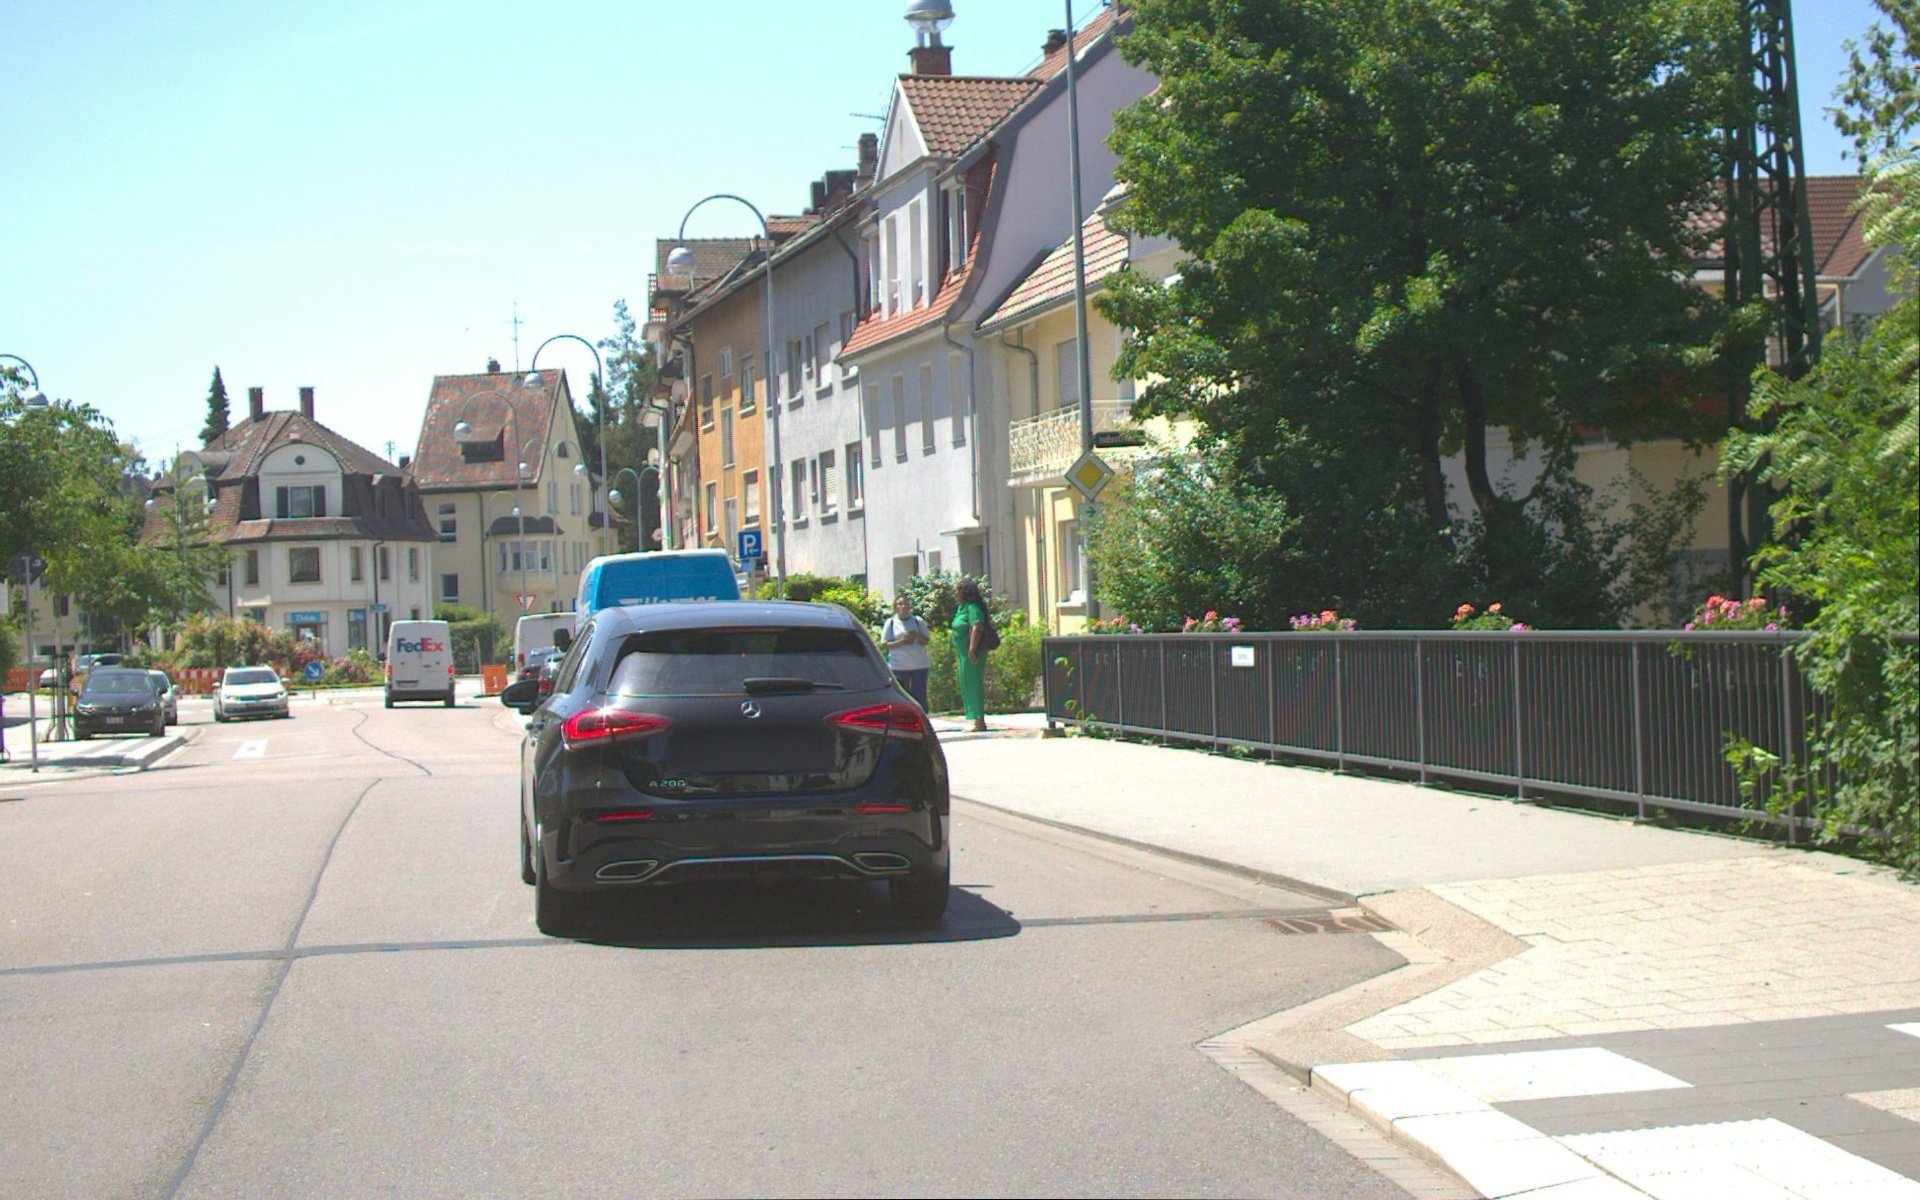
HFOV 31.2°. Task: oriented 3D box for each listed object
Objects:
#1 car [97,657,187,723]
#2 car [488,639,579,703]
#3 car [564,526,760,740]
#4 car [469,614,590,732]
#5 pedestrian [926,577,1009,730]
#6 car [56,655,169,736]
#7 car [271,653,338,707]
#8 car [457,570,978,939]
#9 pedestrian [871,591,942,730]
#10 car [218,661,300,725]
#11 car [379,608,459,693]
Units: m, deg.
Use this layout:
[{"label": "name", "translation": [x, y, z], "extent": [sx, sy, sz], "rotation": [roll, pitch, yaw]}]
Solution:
[{"label": "car", "translation": [-21.325, 2.343, 89.776], "extent": [1.993, 1.654, 4.001], "rotation": [0, -1, -9]}, {"label": "car", "translation": [-10.553, 1.729, 84.892], "extent": [1.993, 1.387, 4.330], "rotation": [-2, 1, -10]}, {"label": "car", "translation": [-3.899, 0.425, 44.239], "extent": [2.132, 2.533, 4.650], "rotation": [-2, 0, -9]}, {"label": "car", "translation": [-8.016, 1.315, 63.747], "extent": [1.993, 2.007, 4.001], "rotation": [-1, 1, -10]}, {"label": "pedestrian", "translation": [0.083, 0.617, 39.914], "extent": [0.660, 1.735, 0.702], "rotation": [-2, -1, -27]}, {"label": "car", "translation": [-17.958, 2.006, 72.974], "extent": [1.993, 1.654, 4.001], "rotation": [0, -1, -9]}, {"label": "car", "translation": [-21.039, 2.554, 110.502], "extent": [1.993, 1.654, 4.001], "rotation": [0, -1, -9]}, {"label": "car", "translation": [-1.274, 0.735, 16.130], "extent": [1.827, 1.437, 4.000], "rotation": [-2, -3, -12]}, {"label": "pedestrian", "translation": [-0.638, 0.715, 40.708], "extent": [0.613, 1.607, 0.838], "rotation": [-2, -1, -14]}, {"label": "car", "translation": [-18.822, 2.485, 92.483], "extent": [1.993, 1.654, 4.001], "rotation": [0, -1, -9]}, {"label": "car", "translation": [-16.024, 1.463, 101.733], "extent": [2.244, 2.335, 4.854], "rotation": [-1, 1, -9]}]
